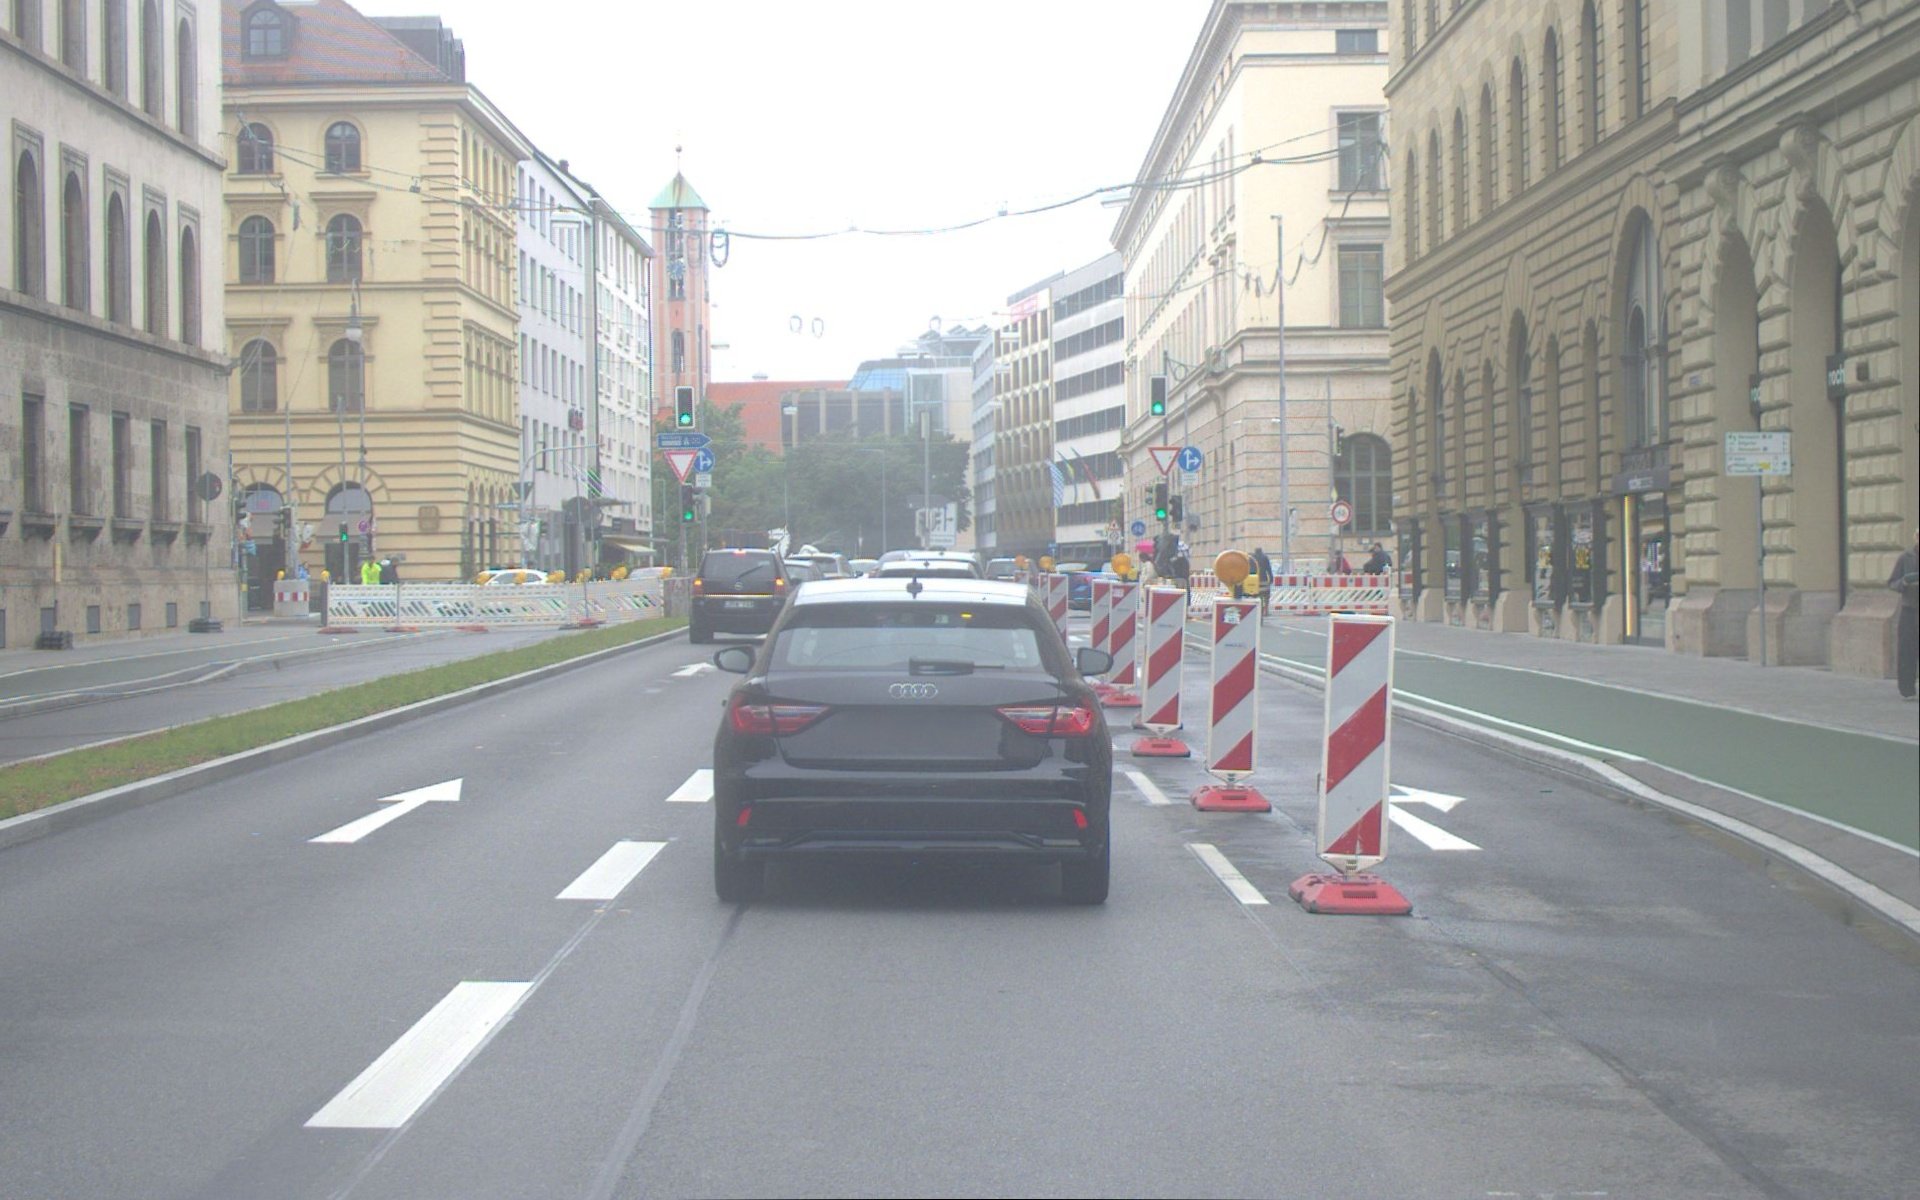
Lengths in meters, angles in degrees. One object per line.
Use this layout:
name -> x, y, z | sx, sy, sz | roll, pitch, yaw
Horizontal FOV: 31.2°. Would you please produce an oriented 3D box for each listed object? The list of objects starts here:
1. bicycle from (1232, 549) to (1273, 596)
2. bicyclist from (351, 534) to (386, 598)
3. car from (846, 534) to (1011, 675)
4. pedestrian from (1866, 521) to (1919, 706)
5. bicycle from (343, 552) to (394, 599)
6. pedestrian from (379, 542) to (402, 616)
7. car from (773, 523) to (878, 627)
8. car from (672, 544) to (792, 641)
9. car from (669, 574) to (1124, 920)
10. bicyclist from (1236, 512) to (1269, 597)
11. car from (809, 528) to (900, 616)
bicycle -> 6.402, -0.602, 75.338 | 0.584, 1.008, 1.657 | 0, 1, -6
bicyclist -> -16.176, -0.924, 93.995 | 0.798, 1.742, 0.689 | 0, 1, 4
car -> -0.428, 0.025, 41.583 | 1.768, 1.611, 4.001 | 0, 1, -4
pedestrian -> 8.979, 0.109, 32.223 | 0.632, 1.698, 1.086 | -1, 1, -1
bicycle -> -16.175, -0.679, 94.059 | 0.787, 1.238, 2.448 | 1, 1, 4
pedestrian -> -13.367, -0.499, 80.719 | 0.512, 1.737, 1.043 | -1, 1, -10
car -> -2.672, -0.514, 69.232 | 1.993, 2.007, 4.000 | -1, 1, -1
car -> -3.927, -0.155, 59.704 | 1.865, 1.596, 3.851 | -1, 1, -1
car -> -0.278, 0.592, 16.135 | 1.863, 1.383, 4.000 | 0, 1, 0
bicyclist -> 6.406, -1.000, 75.339 | 0.566, 1.847, 0.799 | 0, 1, -6
car -> -2.472, -0.682, 81.484 | 1.993, 2.007, 4.000 | -1, 1, 0
